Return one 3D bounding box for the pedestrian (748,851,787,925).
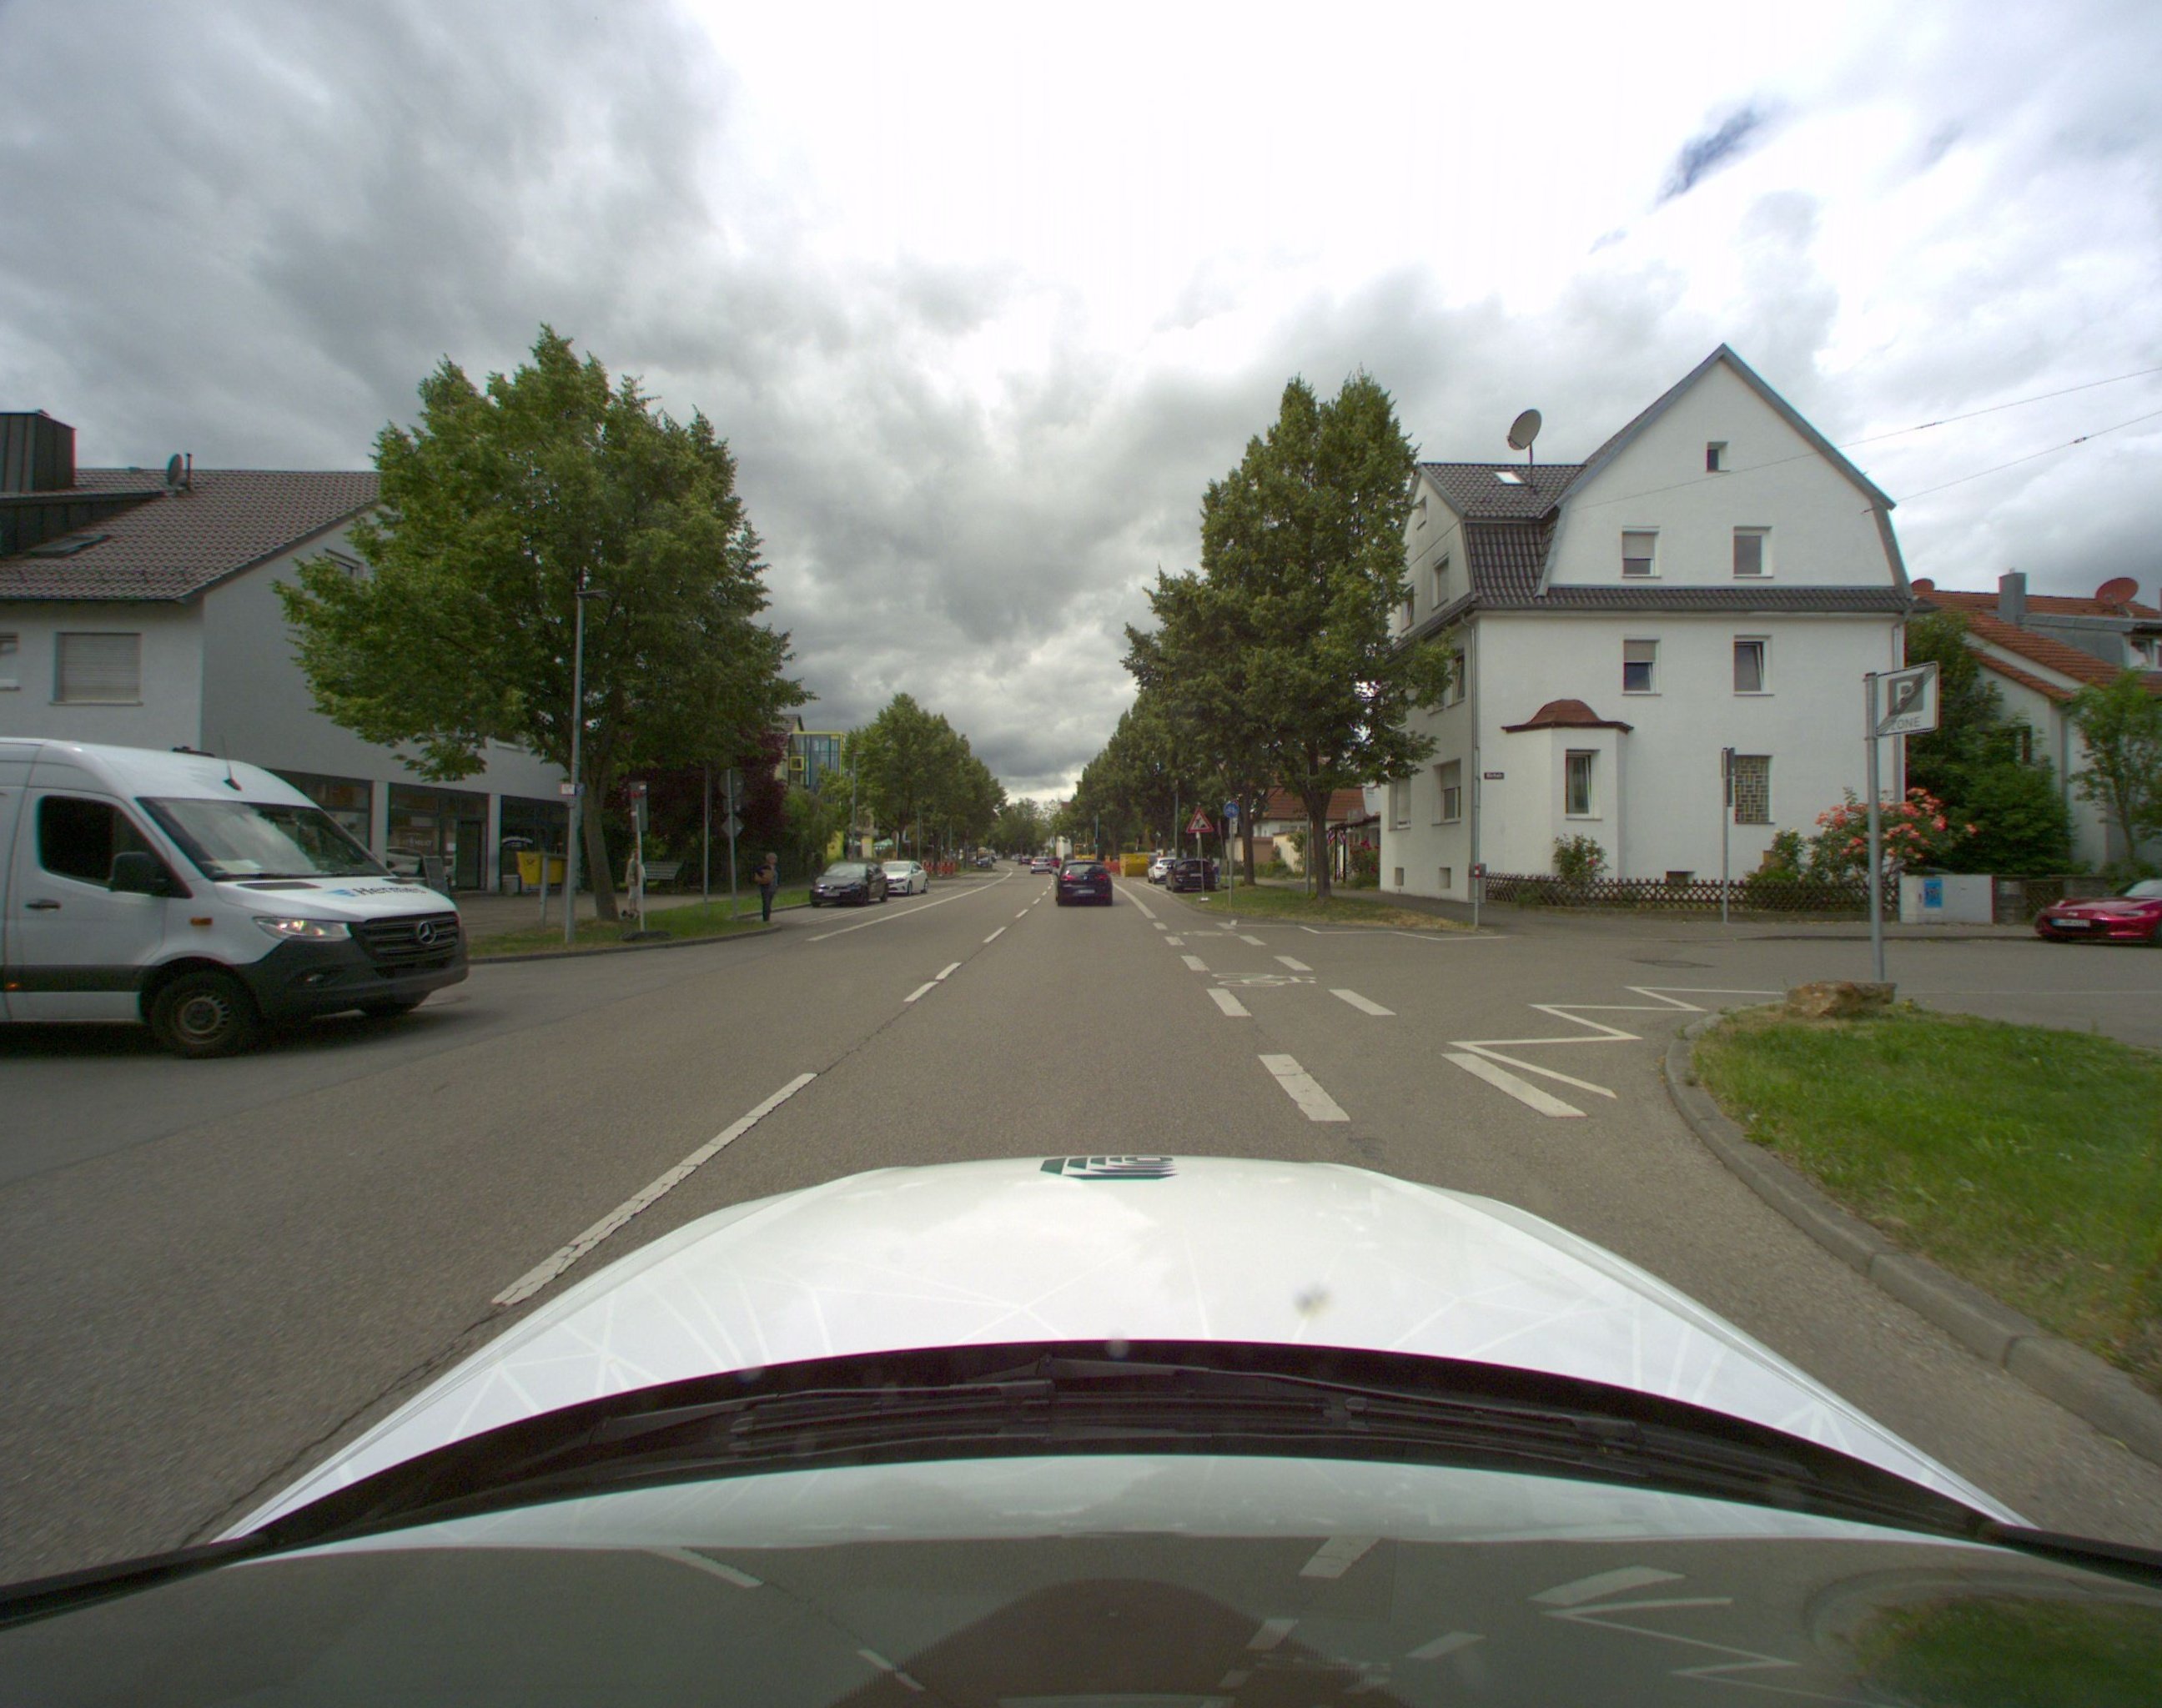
[{"bbox_3d":[-7.378,0.778,19.195,0.539,1.681,0.752,1,1,9],"label":"pedestrian"}]

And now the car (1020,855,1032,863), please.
[{"bbox_3d":[-10.094,0.882,148.393,1.810,1.415,3.680,0,0,-10],"label":"car"}]

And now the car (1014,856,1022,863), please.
[{"bbox_3d":[-14.639,1.292,189.617,1.807,1.415,3.687,0,0,-4],"label":"car"}]

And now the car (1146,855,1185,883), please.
[{"bbox_3d":[4.605,0.803,44.873,1.668,1.462,3.997,0,0,-2],"label":"car"}]

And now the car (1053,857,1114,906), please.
[{"bbox_3d":[0.051,0.838,26.539,1.814,1.437,3.738,-1,0,-1],"label":"car"}]

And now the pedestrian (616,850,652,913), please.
[{"bbox_3d":[-11.241,0.683,20.500,0.428,1.552,0.806,0,0,1],"label":"pedestrian"}]

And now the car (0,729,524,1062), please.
[{"bbox_3d":[-9.544,0.325,7.393,7.271,2.594,2.218,0,0,-3],"label":"car"}]

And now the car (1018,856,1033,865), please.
[{"bbox_3d":[-8.901,1.037,131.086,1.812,1.375,3.676,0,0,-13],"label":"car"}]

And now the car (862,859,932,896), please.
[{"bbox_3d":[-7.578,0.944,33.899,1.707,1.406,4.303,-1,0,3],"label":"car"}]

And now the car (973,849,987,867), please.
[{"bbox_3d":[-15.650,0.634,126.212,2.090,2.626,5.032,0,0,-7],"label":"car"}]

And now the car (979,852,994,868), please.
[{"bbox_3d":[-10.937,0.710,94.040,1.665,1.772,4.457,-1,0,-6],"label":"car"}]

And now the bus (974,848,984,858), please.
[{"bbox_3d":[-21.728,-0.151,172.648,1.992,2.123,7.337,0,0,-8],"label":"bus"}]

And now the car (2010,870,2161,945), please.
[{"bbox_3d":[19.572,0.938,14.721,3.686,1.230,1.745,1,0,-2],"label":"car"}]

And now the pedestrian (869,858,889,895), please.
[{"bbox_3d":[-8.426,0.921,33.957,0.586,1.529,0.691,0,-1,-35],"label":"pedestrian"}]

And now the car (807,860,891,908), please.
[{"bbox_3d":[-7.661,0.949,27.229,1.637,1.420,4.020,-1,0,0],"label":"car"}]

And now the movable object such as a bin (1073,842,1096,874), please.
[{"bbox_3d":[0.262,0.290,66.893,1.763,2.574,3.738,0,0,-1],"label":"movable object such as a bin"}]

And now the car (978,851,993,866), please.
[{"bbox_3d":[-13.693,0.654,116.429,2.090,2.175,5.032,0,0,-7],"label":"car"}]

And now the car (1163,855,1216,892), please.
[{"bbox_3d":[4.587,0.788,35.018,1.700,1.454,4.616,-1,0,0],"label":"car"}]

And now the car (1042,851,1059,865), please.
[{"bbox_3d":[-3.835,0.501,101.369,1.789,1.623,3.731,-1,0,-7],"label":"car"}]

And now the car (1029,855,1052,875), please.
[{"bbox_3d":[-3.536,0.941,71.582,1.901,1.685,3.736,-1,0,-2],"label":"car"}]
